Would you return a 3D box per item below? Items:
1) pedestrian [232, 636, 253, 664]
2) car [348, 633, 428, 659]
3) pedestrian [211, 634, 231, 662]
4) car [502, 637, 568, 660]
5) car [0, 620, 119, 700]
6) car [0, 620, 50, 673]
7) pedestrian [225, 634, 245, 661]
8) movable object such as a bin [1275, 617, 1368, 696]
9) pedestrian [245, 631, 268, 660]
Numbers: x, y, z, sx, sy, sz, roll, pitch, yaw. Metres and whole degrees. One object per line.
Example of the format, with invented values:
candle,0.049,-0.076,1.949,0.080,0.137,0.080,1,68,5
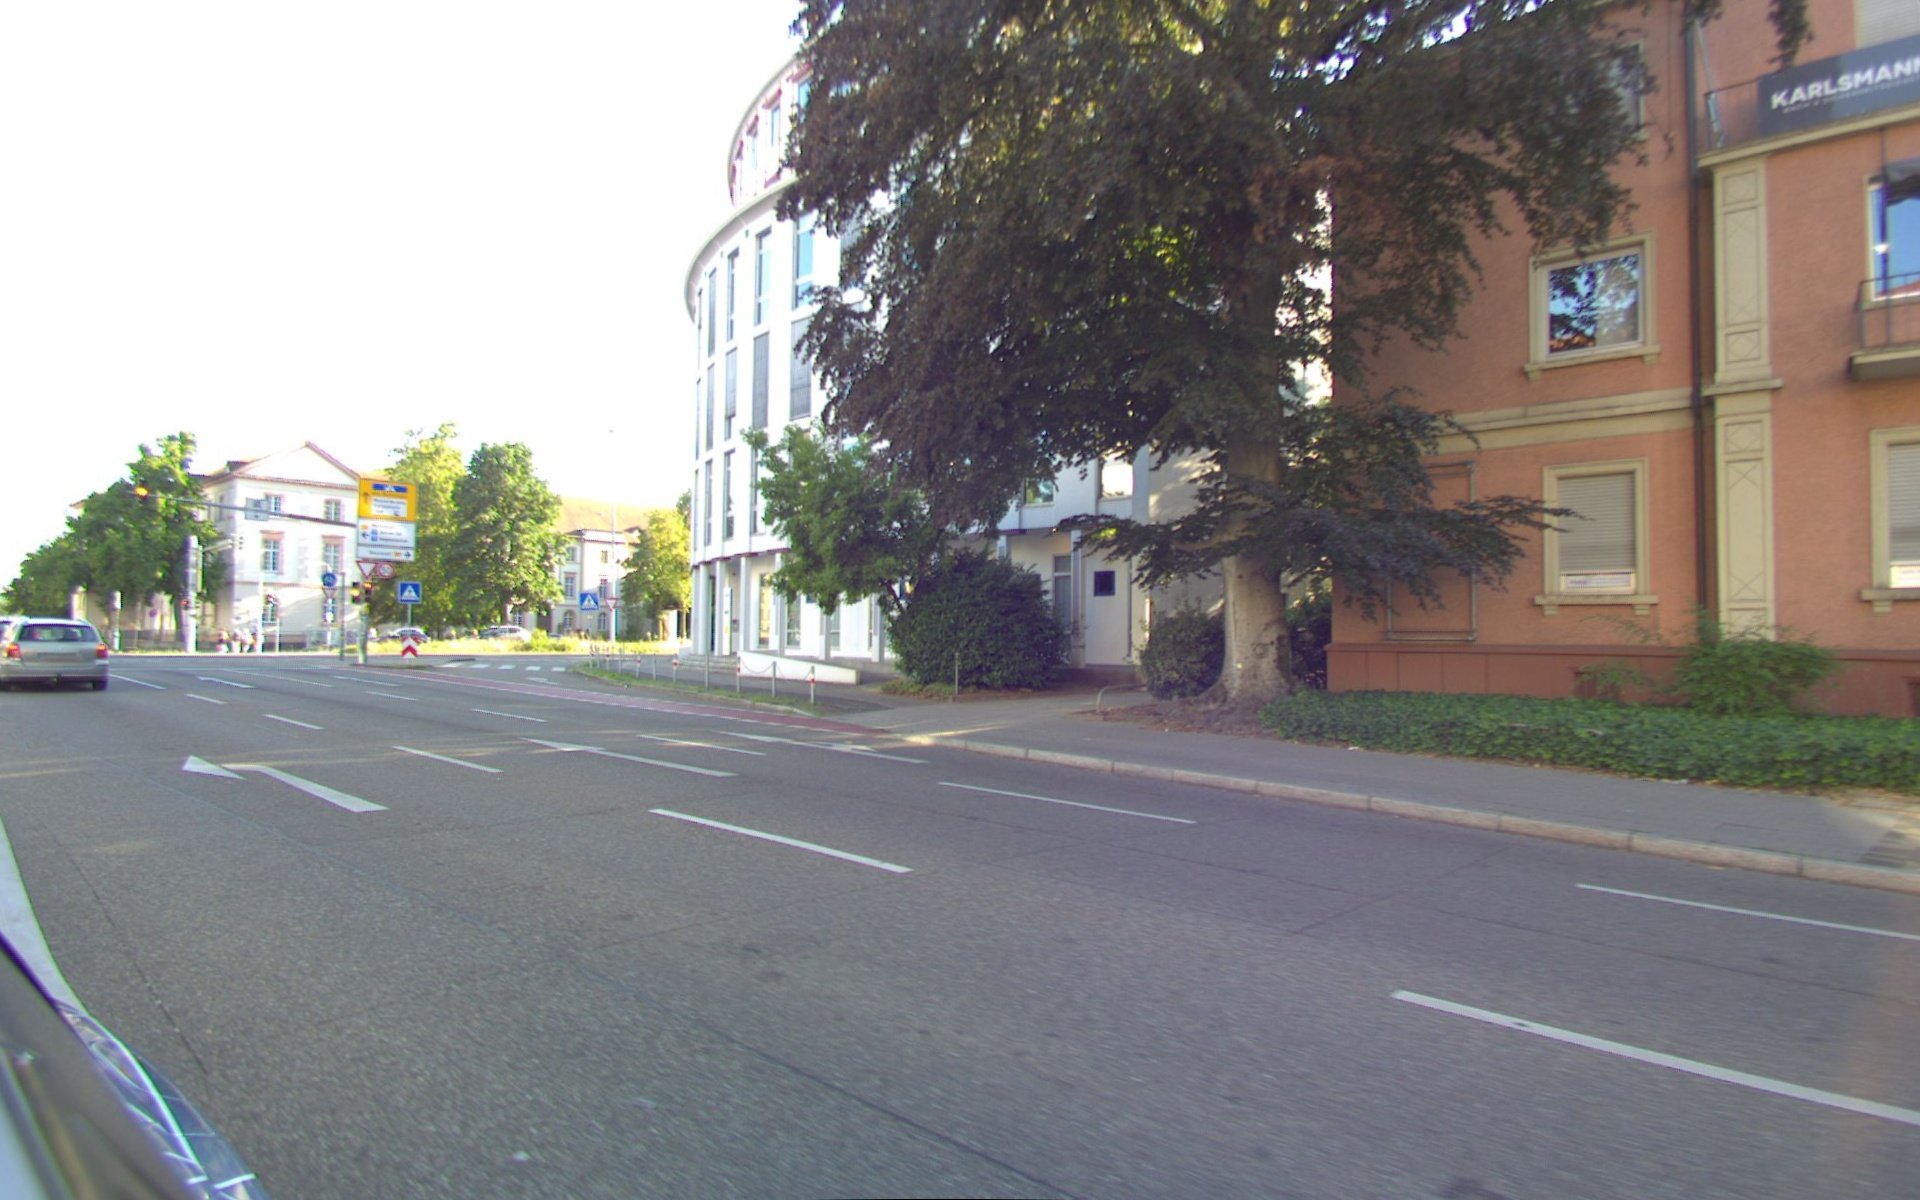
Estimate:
pedestrian,-43.467,3.017,61.318,0.880,1.663,0.671,-1,-3,32
car,-33.749,2.735,59.811,1.996,1.457,3.602,-2,-3,36
pedestrian,-44.238,2.892,60.584,0.887,1.663,0.614,-1,-3,32
car,-28.499,3.247,67.950,1.996,1.457,3.602,-2,-3,36
car,-19.368,1.232,21.437,4.605,1.526,1.807,-2,-4,43
car,-28.045,1.346,29.430,3.899,1.472,1.809,-2,-3,40
pedestrian,-46.057,3.030,64.296,1.081,1.721,0.671,-1,-3,32
movable object such as a bin,8.008,1.237,22.410,1.457,1.664,1.486,-2,-4,44
pedestrian,-45.351,2.935,65.248,1.166,1.863,0.812,-1,-3,32
